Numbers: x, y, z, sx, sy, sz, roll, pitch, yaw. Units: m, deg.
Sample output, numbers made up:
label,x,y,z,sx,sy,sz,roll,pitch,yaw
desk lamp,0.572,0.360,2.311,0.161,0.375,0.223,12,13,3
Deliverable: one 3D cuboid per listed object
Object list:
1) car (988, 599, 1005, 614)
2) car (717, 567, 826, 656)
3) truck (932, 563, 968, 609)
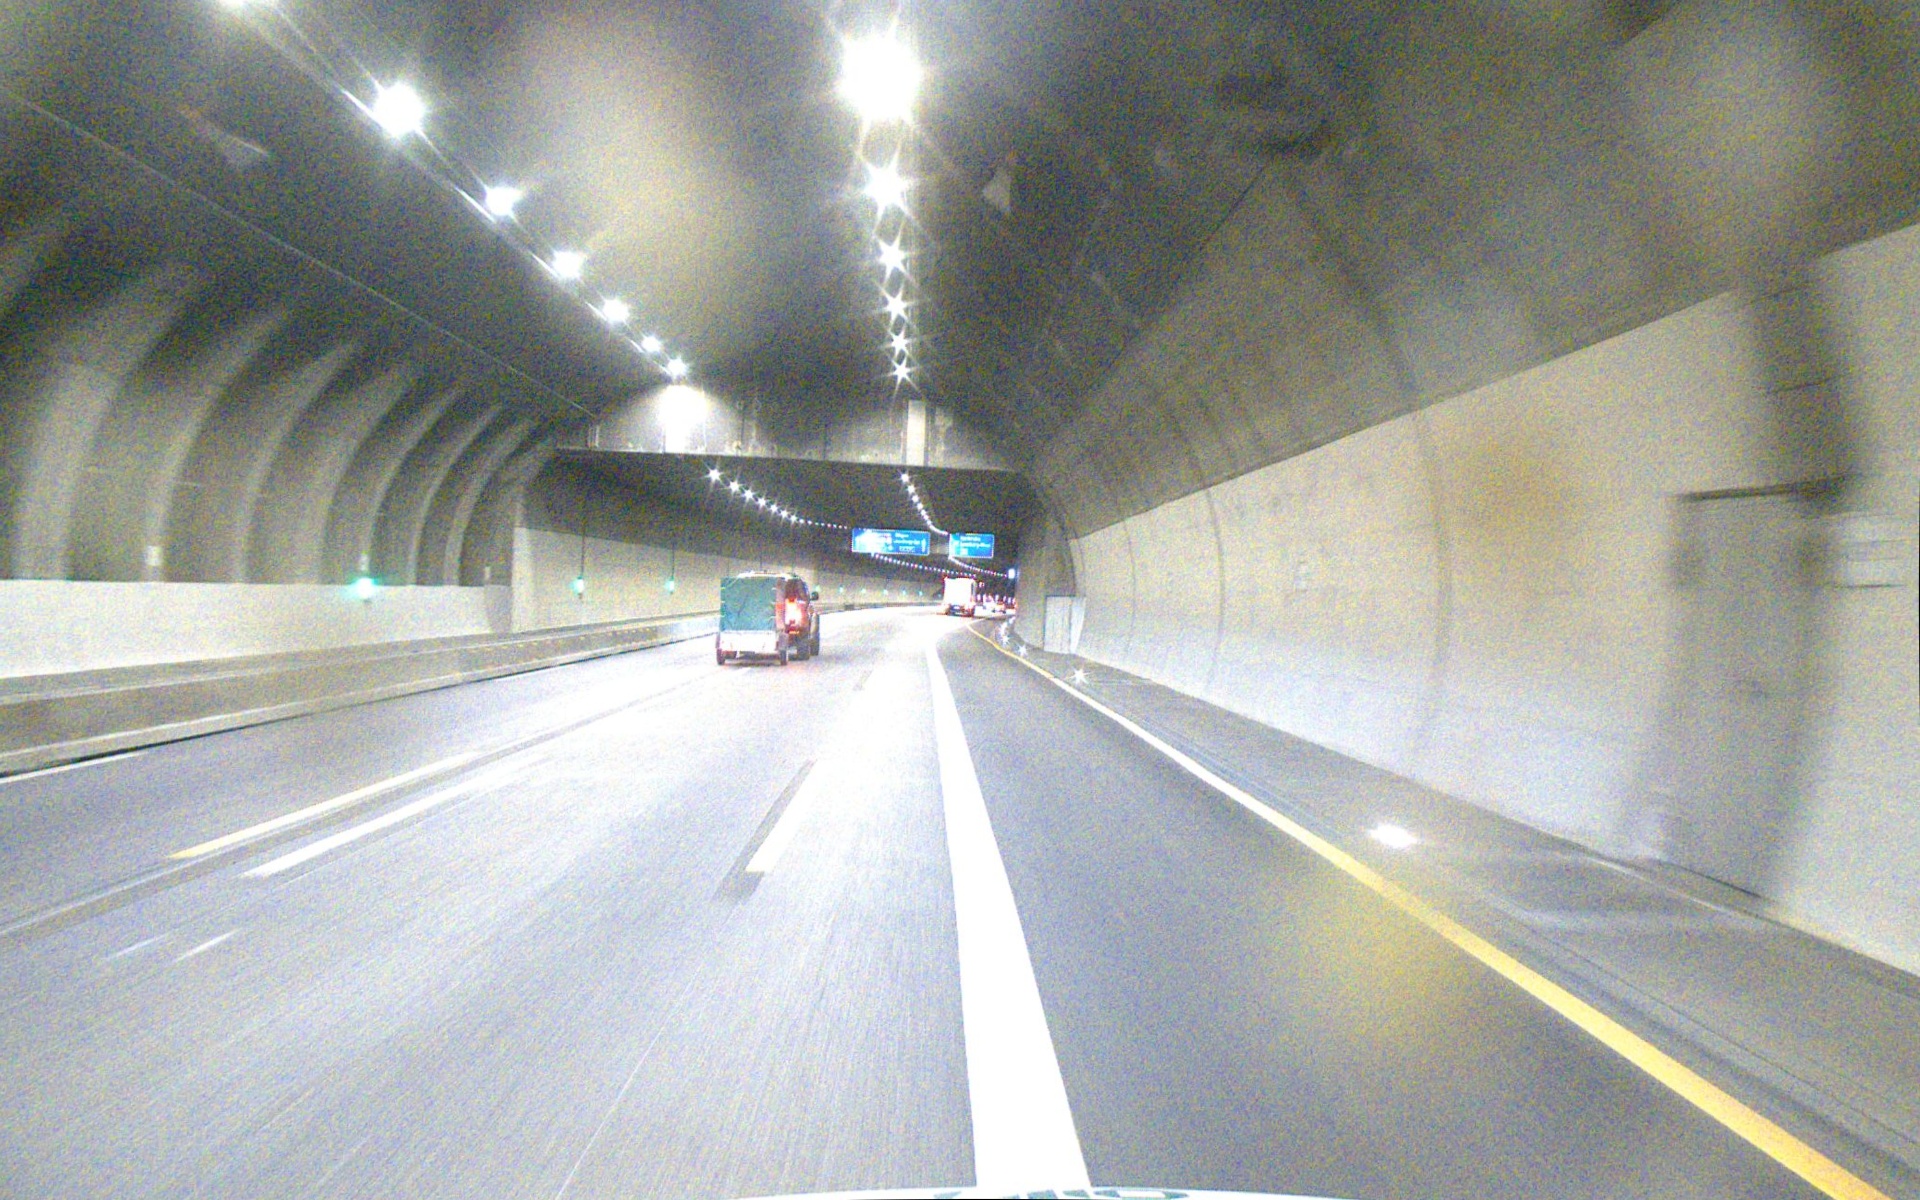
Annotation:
label,x,y,z,sx,sy,sz,roll,pitch,yaw
car,4.928,0.854,222.906,1.952,1.928,5.535,-1,1,4
car,-4.340,0.328,38.940,1.953,1.928,5.452,-1,-2,0
truck,-1.054,-1.473,162.496,3.403,4.391,10.950,0,1,-1
